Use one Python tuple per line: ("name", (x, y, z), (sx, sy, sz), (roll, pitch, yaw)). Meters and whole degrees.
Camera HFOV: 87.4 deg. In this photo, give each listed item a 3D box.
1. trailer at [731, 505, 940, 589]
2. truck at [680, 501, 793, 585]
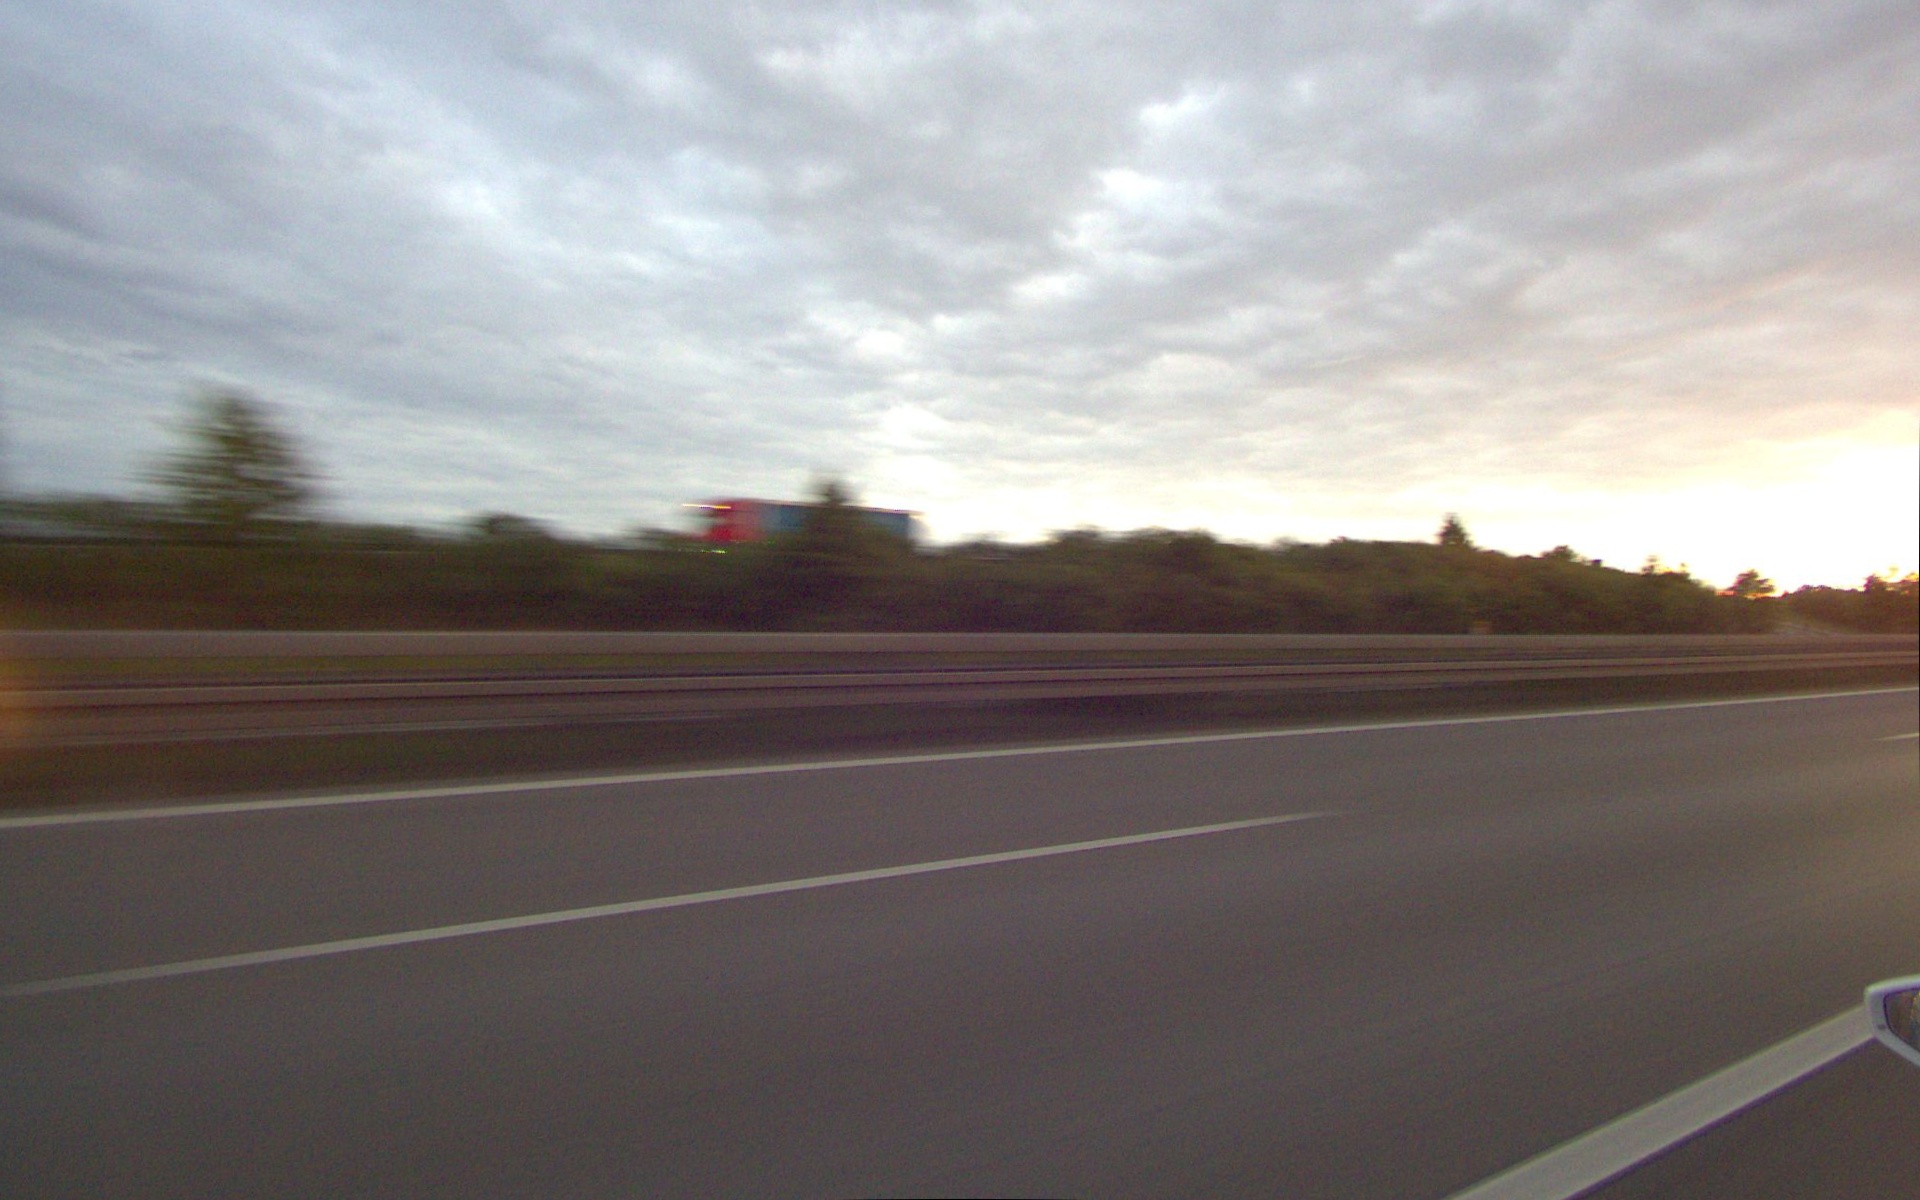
("trailer", (-6.979, -2.912, 58.570), (12.371, 4.125, 2.672), (1, -1, -36))
("truck", (-12.153, -2.994, 54.812), (5.424, 4.125, 2.672), (1, -1, -36))
